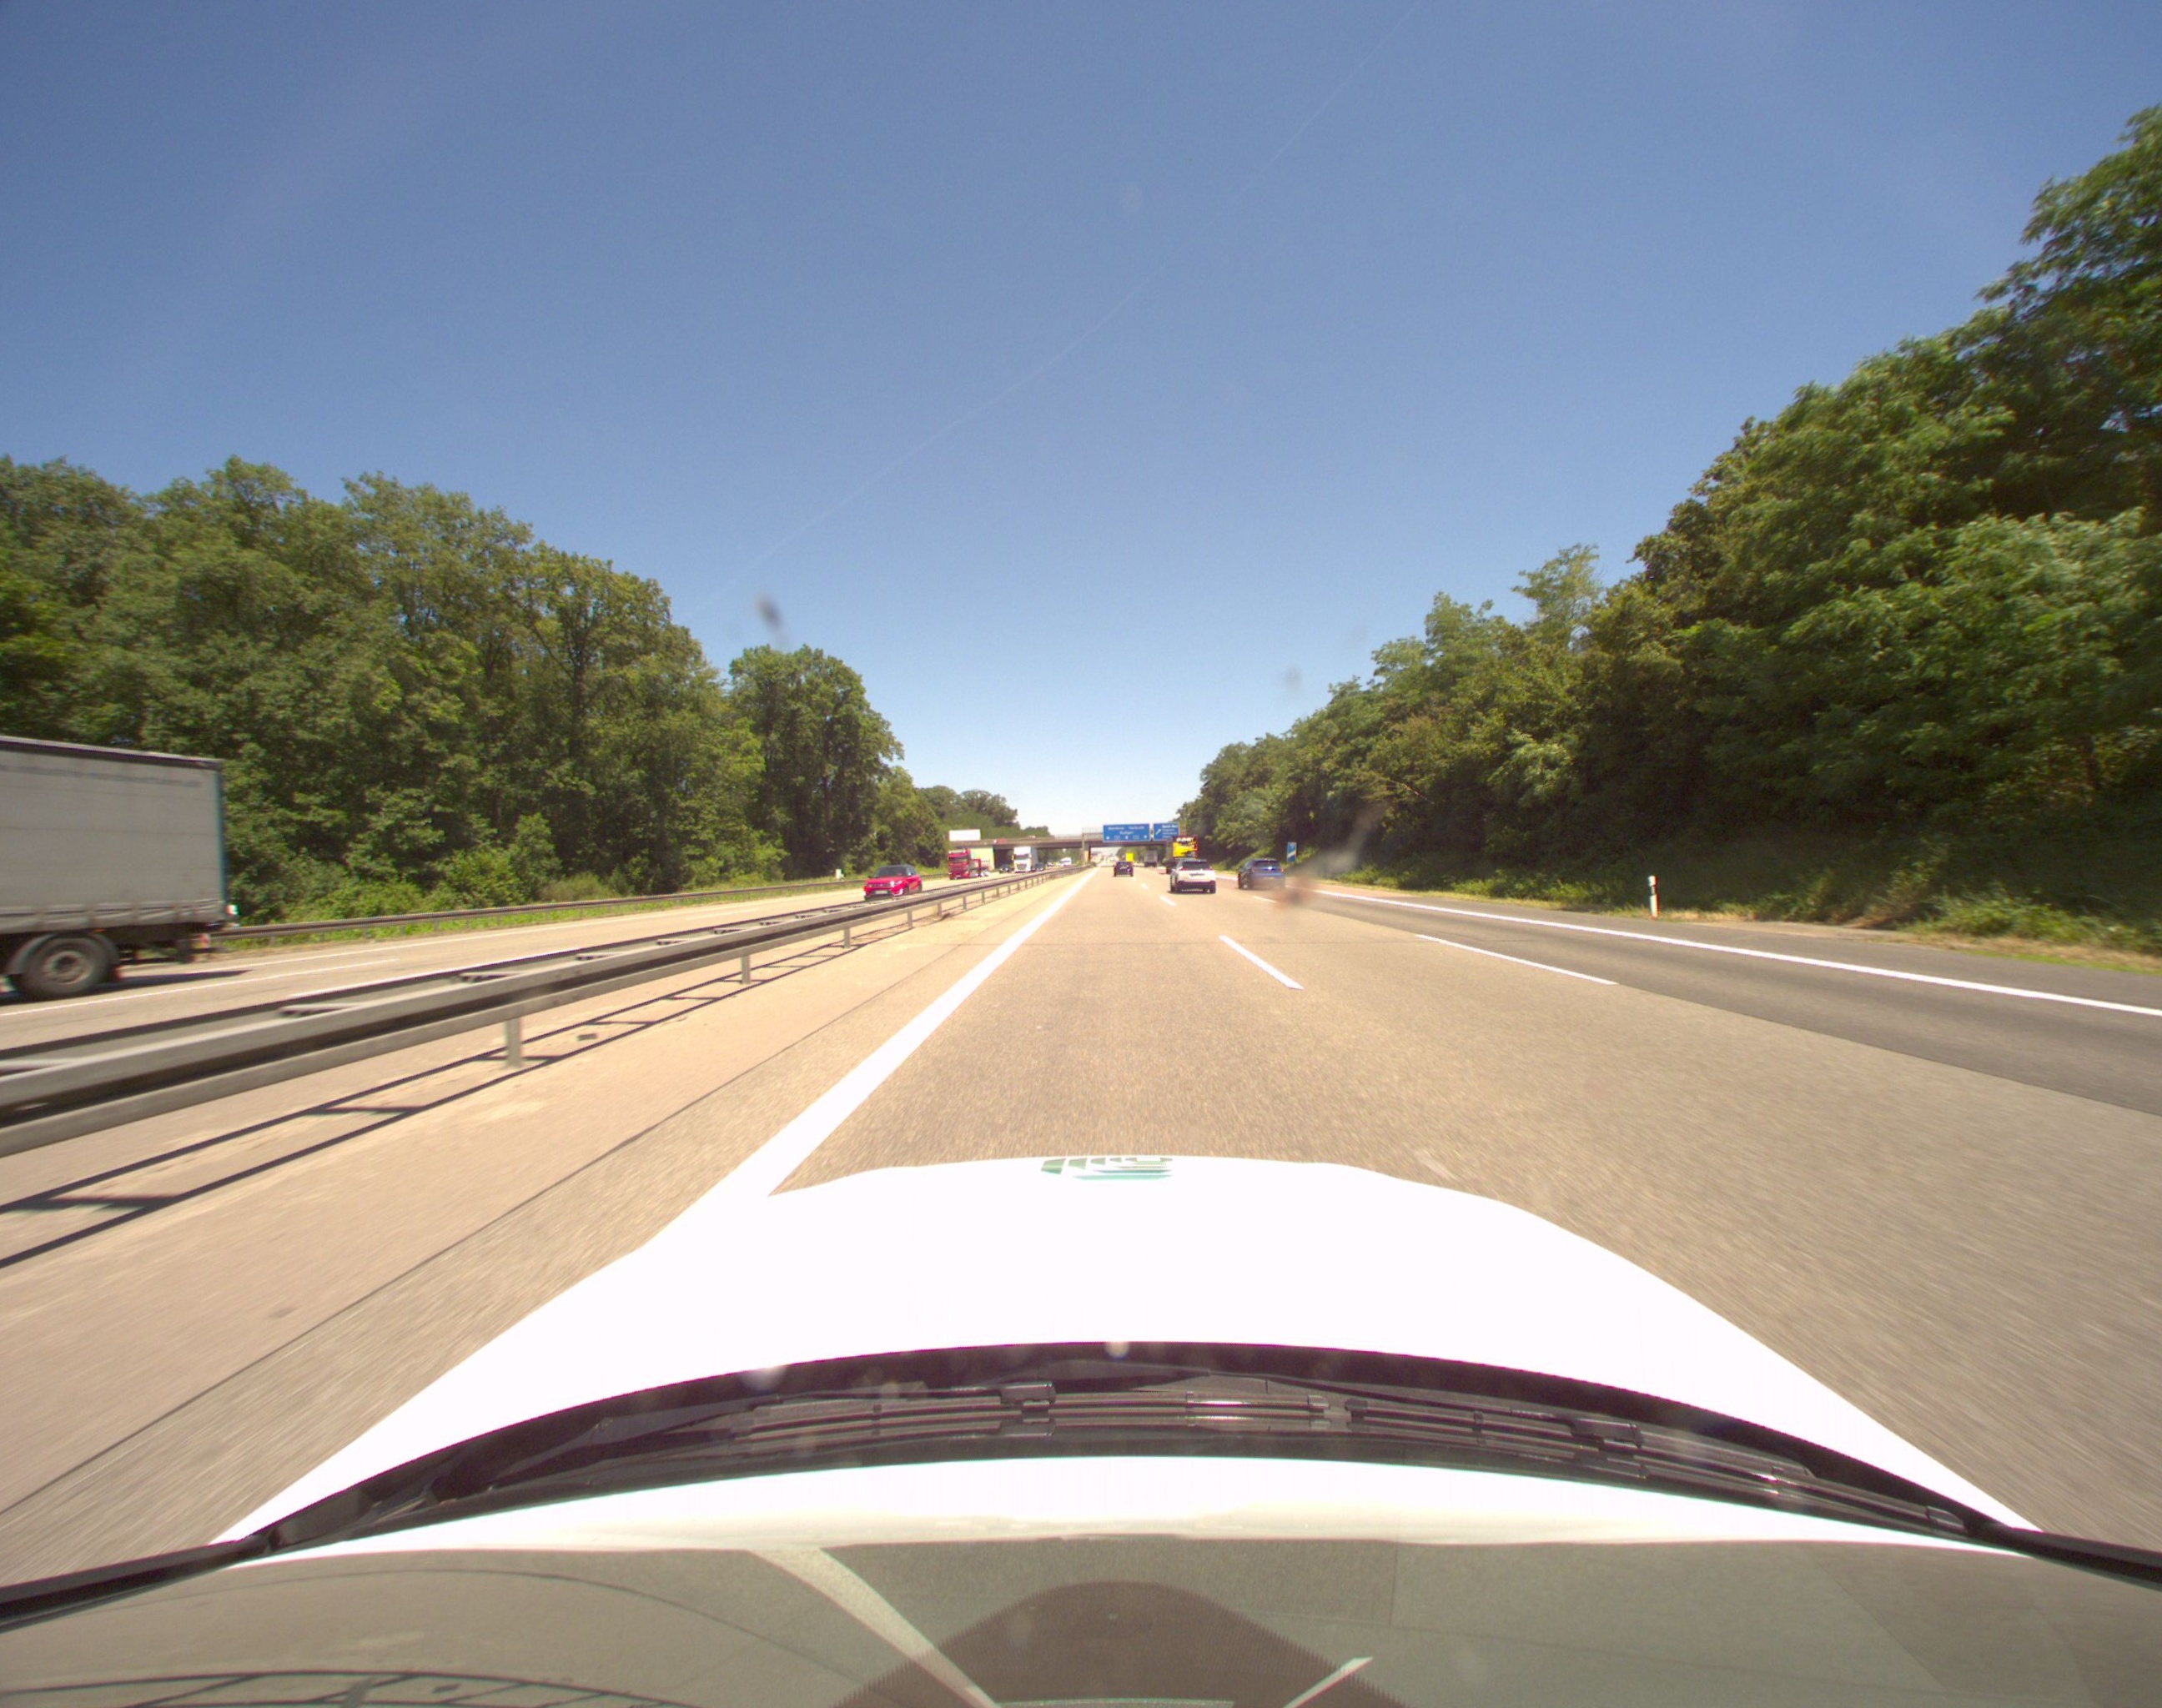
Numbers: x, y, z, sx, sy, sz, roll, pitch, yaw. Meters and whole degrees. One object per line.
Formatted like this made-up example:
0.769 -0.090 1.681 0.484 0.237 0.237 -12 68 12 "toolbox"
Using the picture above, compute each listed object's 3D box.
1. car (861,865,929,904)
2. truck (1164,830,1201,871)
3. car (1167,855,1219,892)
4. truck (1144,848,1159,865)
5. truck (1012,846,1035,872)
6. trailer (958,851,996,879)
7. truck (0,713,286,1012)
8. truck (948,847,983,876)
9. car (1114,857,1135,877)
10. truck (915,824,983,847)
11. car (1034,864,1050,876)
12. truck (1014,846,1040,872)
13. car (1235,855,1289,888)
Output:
-8.090 1.280 35.842 1.725 1.585 4.647 0 -1 3 "car"
10.791 -0.281 87.313 2.964 4.037 10.985 1 -1 2 "truck"
5.088 0.875 37.554 1.820 1.608 4.810 -1 -1 2 "car"
14.663 0.522 168.979 3.013 3.319 10.788 0 -1 6 "truck"
-9.198 0.796 130.266 2.975 4.019 6.044 0 -1 2 "truck"
-13.454 1.417 106.814 2.768 3.394 13.296 0 -1 2 "trailer"
-17.441 0.093 8.998 3.311 4.342 13.914 0 -1 1 "truck"
-13.816 0.913 98.040 2.738 3.394 7.665 0 -1 2 "truck"
3.975 1.195 74.732 1.820 1.706 4.001 0 -1 1 "car"
-32.641 -4.583 202.159 16.438 5.566 3.168 0 -1 -6 "truck"
-5.320 2.148 112.608 1.800 1.591 4.671 0 -1 2 "car"
-8.959 0.883 137.016 2.975 4.019 13.943 0 -1 2 "truck"
8.914 0.833 40.486 1.863 1.556 4.203 0 -1 2 "car"
